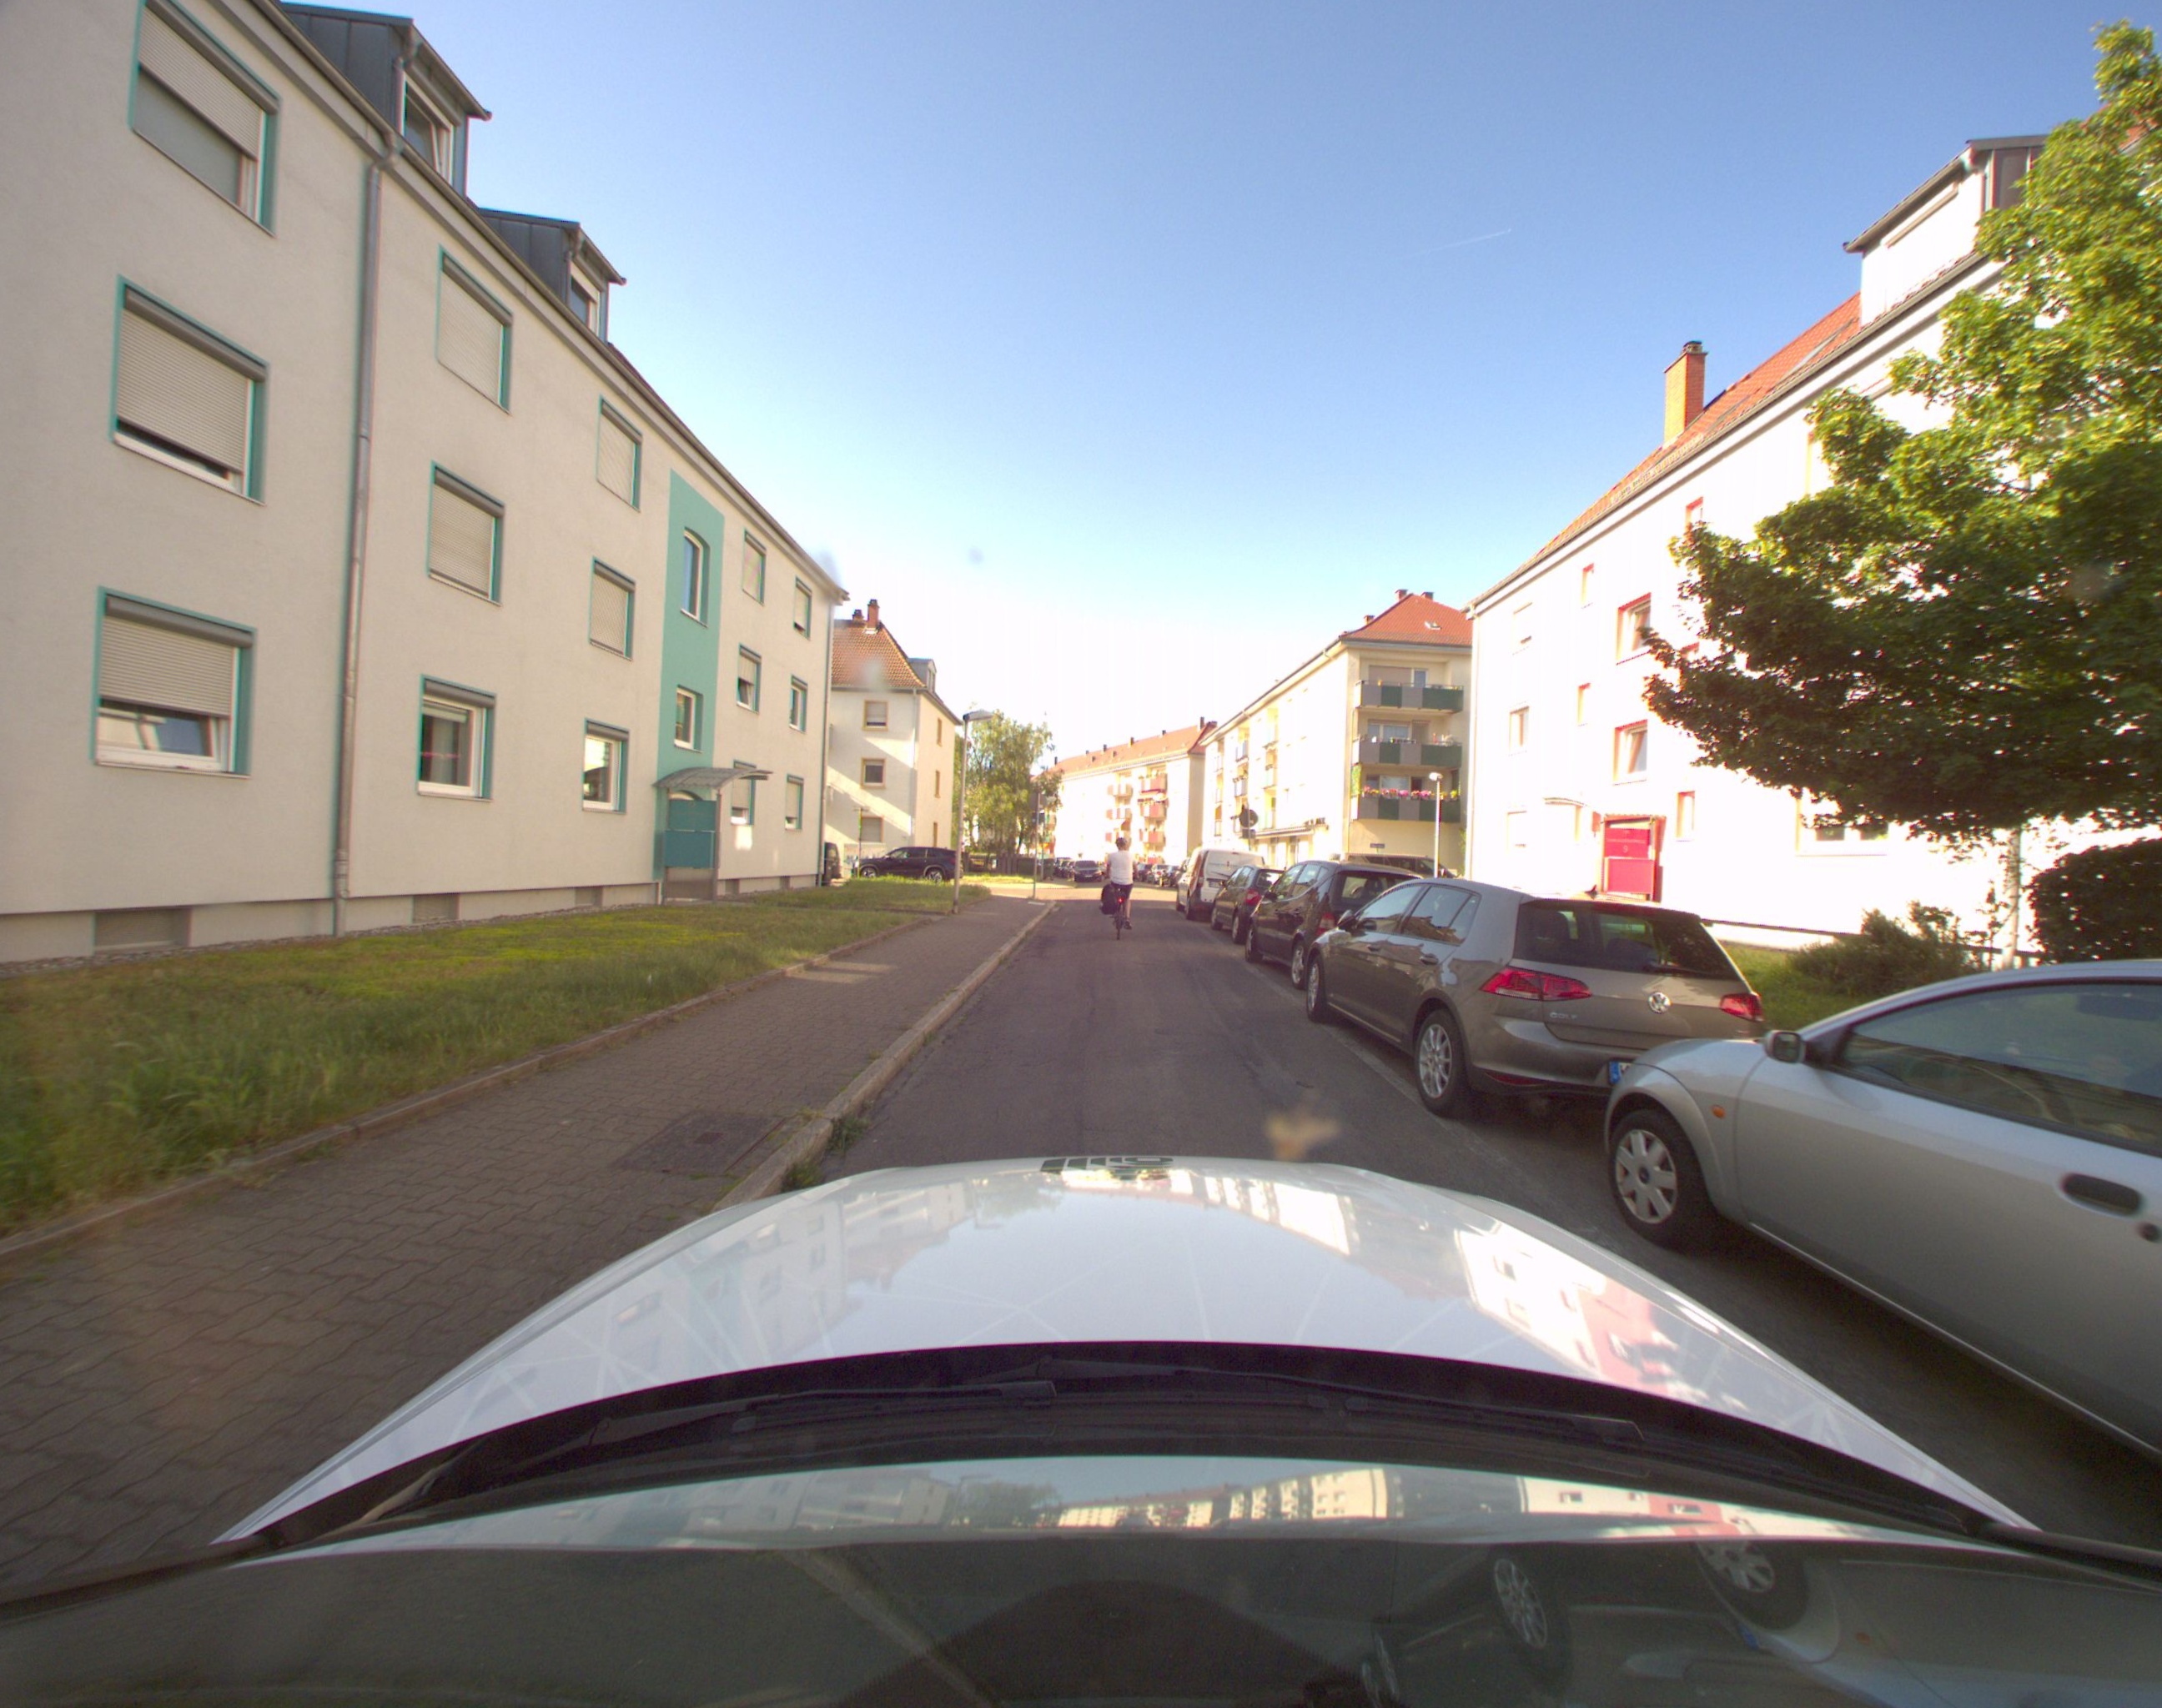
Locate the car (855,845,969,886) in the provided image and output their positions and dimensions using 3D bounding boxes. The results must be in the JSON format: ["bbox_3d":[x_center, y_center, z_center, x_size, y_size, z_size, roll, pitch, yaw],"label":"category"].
[{"bbox_3d":[-7.234,0.515,35.054,4.472,1.664,1.719,1,-2,1],"label":"car"}]

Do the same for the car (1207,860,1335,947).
[{"bbox_3d":[3.543,0.857,15.820,1.568,1.417,3.787,2,0,0],"label":"car"}]

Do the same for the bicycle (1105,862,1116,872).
[{"bbox_3d":[3.357,1.455,92.289,0.619,0.978,1.883,-1,2,-20],"label":"bicycle"}]

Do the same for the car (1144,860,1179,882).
[{"bbox_3d":[5.697,1.174,57.994,1.675,1.447,4.716,2,0,-5],"label":"car"}]

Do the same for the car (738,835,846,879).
[{"bbox_3d":[-12.393,0.141,35.091,3.976,1.789,1.719,1,-2,1],"label":"car"}]

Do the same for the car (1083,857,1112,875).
[{"bbox_3d":[1.645,1.223,83.042,1.770,1.635,4.018,0,1,-17],"label":"car"}]

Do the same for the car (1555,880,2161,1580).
[{"bbox_3d":[3.122,0.848,2.297,1.622,1.394,3.490,1,0,2],"label":"car"}]

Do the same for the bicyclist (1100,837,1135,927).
[{"bbox_3d":[0.661,0.507,14.904,0.594,1.579,0.907,-1,-1,2],"label":"bicyclist"}]

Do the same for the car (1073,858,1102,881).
[{"bbox_3d":[0.395,1.022,54.370,1.674,1.453,4.615,-1,0,-3],"label":"car"}]

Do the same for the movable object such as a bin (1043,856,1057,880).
[{"bbox_3d":[-1.914,0.858,50.202,0.773,1.393,1.417,2,-1,-1],"label":"movable object such as a bin"}]

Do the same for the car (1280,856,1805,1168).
[{"bbox_3d":[2.933,0.849,6.279,1.624,1.450,3.949,5,1,-2],"label":"car"}]

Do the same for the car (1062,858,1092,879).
[{"bbox_3d":[-0.326,1.018,59.639,1.676,1.442,4.269,-1,0,-7],"label":"car"}]

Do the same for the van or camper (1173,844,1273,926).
[{"bbox_3d":[3.502,0.710,20.963,1.786,1.747,4.737,4,0,2],"label":"van or camper"}]

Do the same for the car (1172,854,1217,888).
[{"bbox_3d":[6.394,0.945,46.243,1.743,1.824,4.127,-1,0,-3],"label":"car"}]

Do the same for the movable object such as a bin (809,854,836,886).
[{"bbox_3d":[-8.542,0.525,26.962,0.611,0.992,0.715,2,0,0],"label":"movable object such as a bin"}]

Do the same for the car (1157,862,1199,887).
[{"bbox_3d":[6.119,1.281,51.866,1.676,1.407,4.535,2,0,-6],"label":"car"}]

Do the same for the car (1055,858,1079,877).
[{"bbox_3d":[-1.137,1.042,64.910,1.554,1.442,3.958,-1,0,-7],"label":"car"}]

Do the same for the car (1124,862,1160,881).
[{"bbox_3d":[4.751,1.340,64.081,1.695,1.431,4.669,0,-1,-12],"label":"car"}]

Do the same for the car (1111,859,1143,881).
[{"bbox_3d":[3.958,1.341,70.675,1.694,1.655,4.375,0,1,-11],"label":"car"}]

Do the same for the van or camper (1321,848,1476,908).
[{"bbox_3d":[12.056,0.876,31.165,5.104,2.013,2.001,2,1,1],"label":"van or camper"}]

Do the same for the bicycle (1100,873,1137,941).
[{"bbox_3d":[0.681,0.939,14.946,0.625,1.115,1.817,1,0,2],"label":"bicycle"}]

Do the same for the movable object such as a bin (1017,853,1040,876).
[{"bbox_3d":[-3.252,0.656,50.559,1.214,1.380,0.768,2,-1,4],"label":"movable object such as a bin"}]

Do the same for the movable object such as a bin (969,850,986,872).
[{"bbox_3d":[-7.084,0.478,55.805,1.057,1.435,1.002,0,0,-1],"label":"movable object such as a bin"}]

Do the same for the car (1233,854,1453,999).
[{"bbox_3d":[3.289,0.817,10.938,1.613,1.550,3.607,3,0,-3],"label":"car"}]
